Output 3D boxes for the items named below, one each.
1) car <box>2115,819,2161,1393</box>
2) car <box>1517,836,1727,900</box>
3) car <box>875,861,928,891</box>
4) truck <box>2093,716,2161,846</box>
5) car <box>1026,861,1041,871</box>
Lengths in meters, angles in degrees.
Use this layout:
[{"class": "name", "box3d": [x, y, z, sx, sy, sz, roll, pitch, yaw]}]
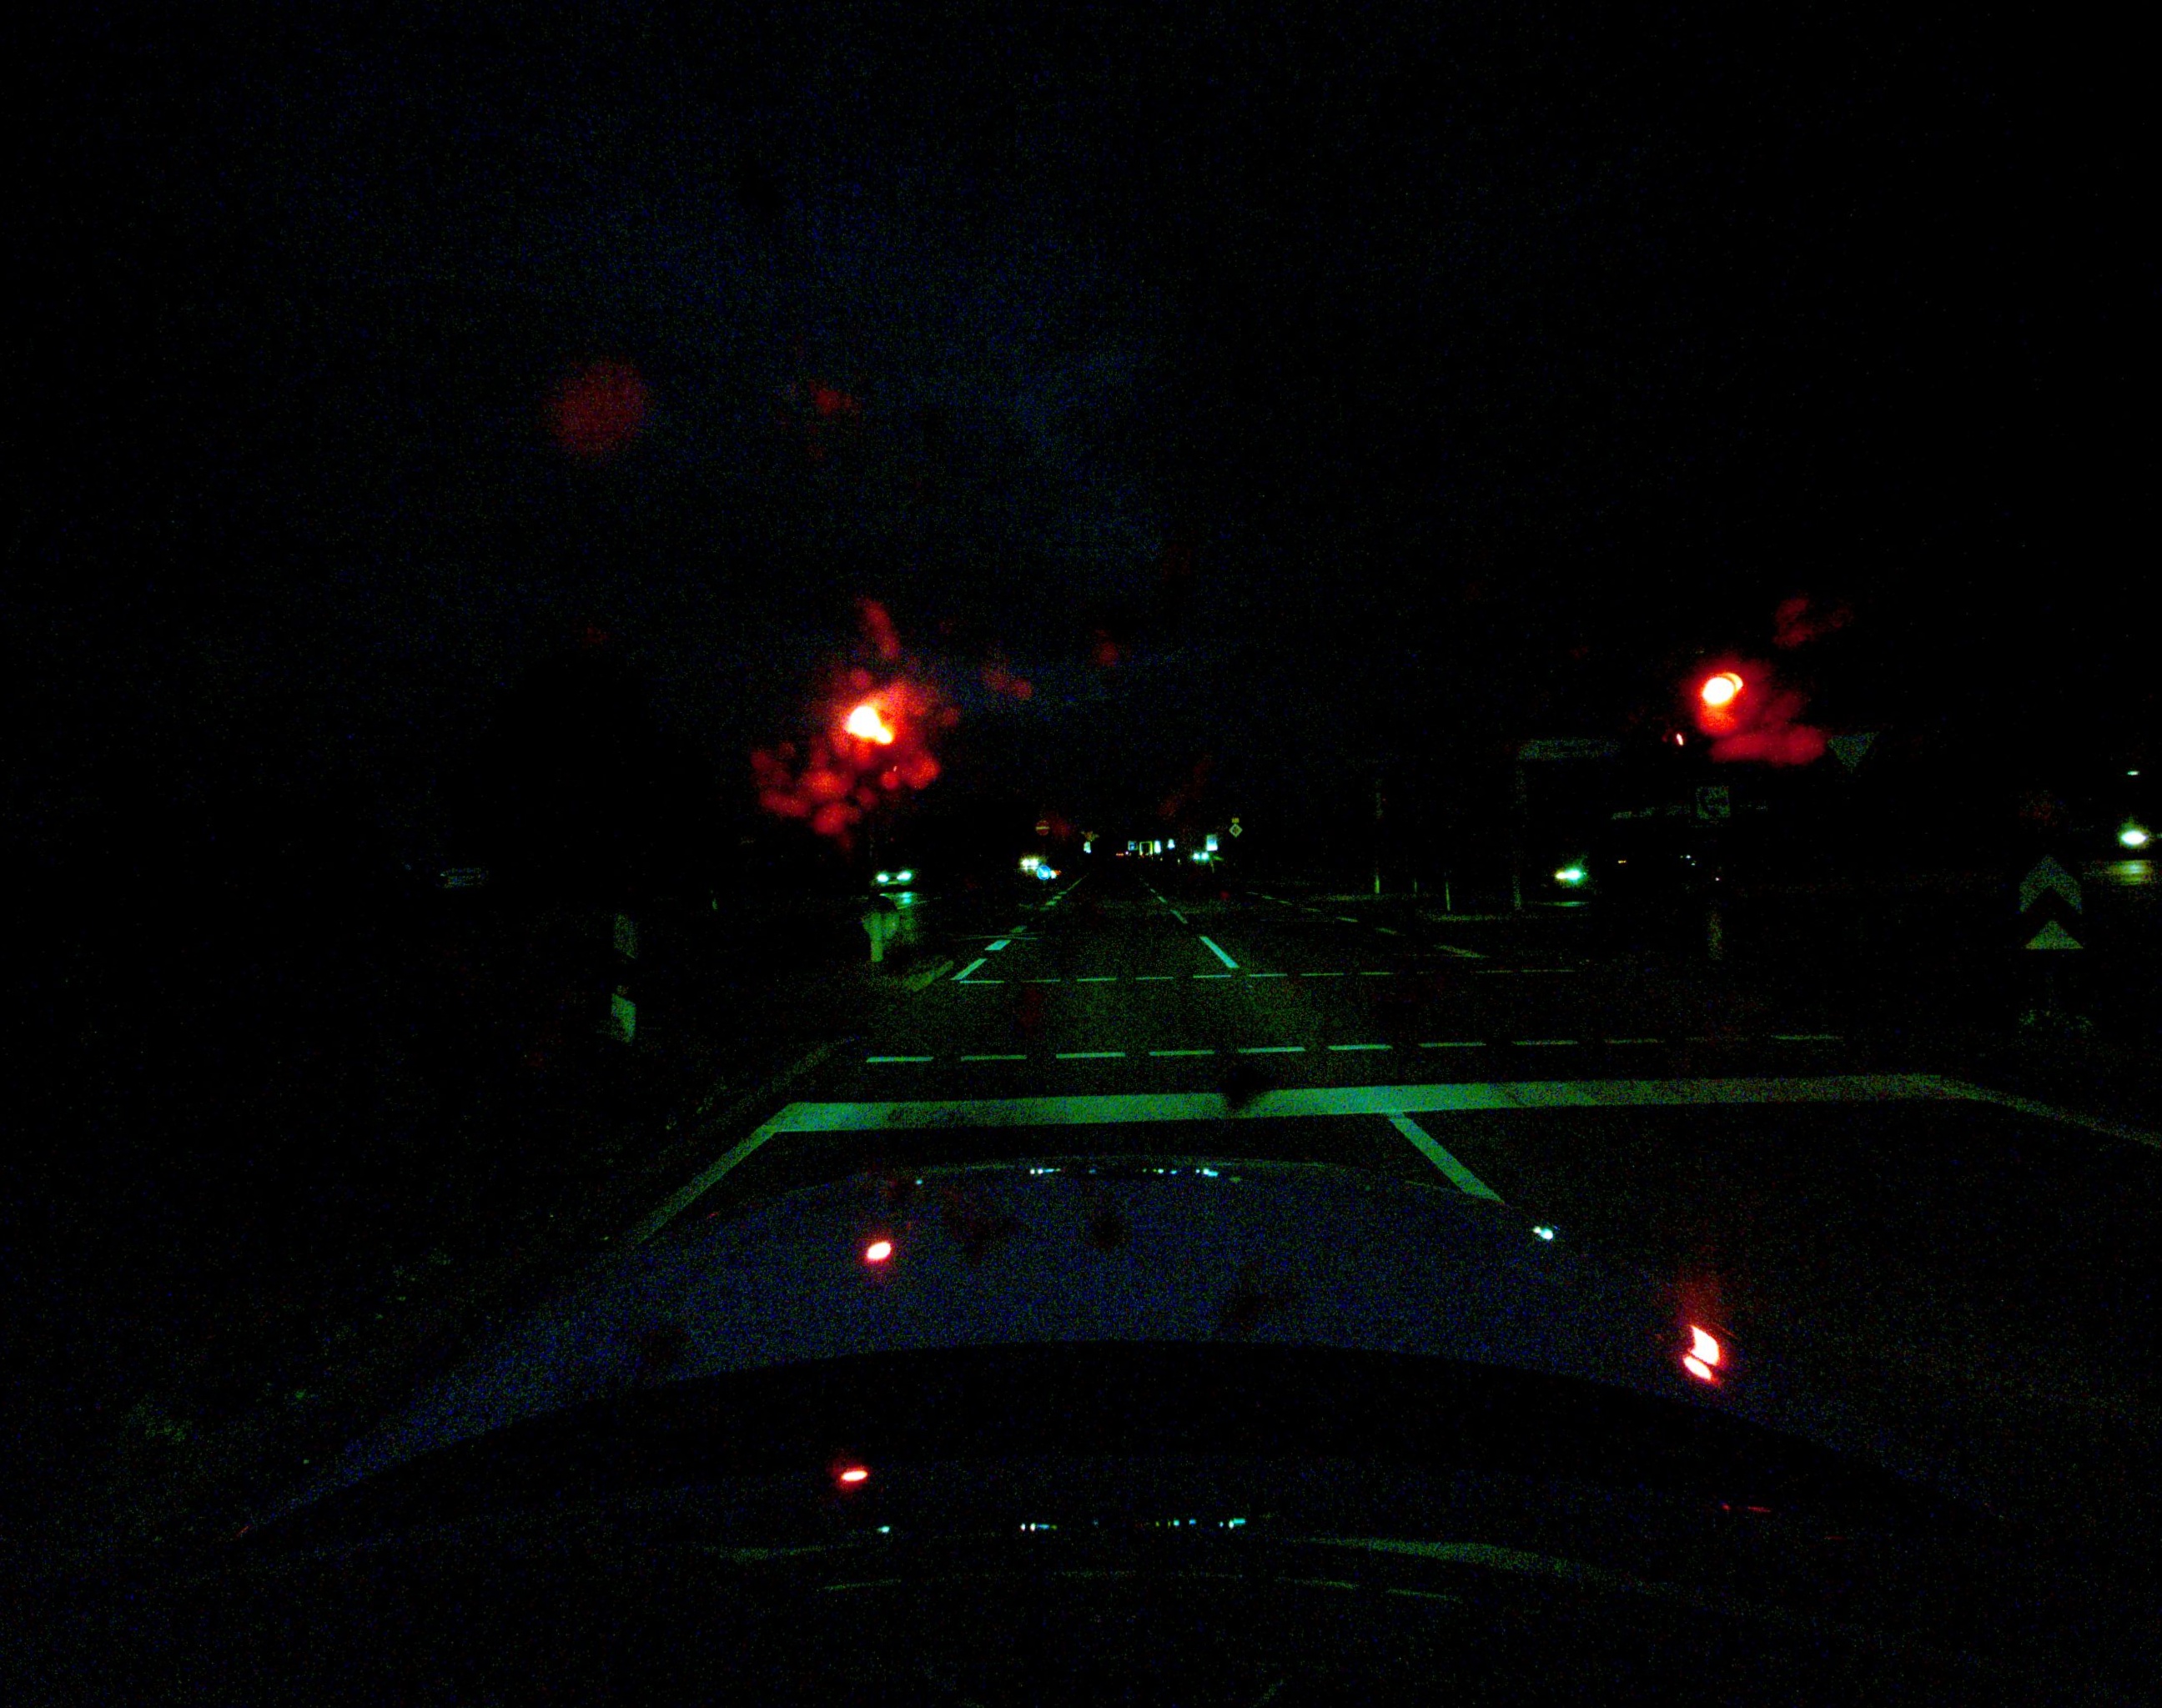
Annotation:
[{"class": "car", "box3d": [3.566, 0.654, 0.149, 1.663, 1.520, 4.109, -1, 0, 3]}, {"class": "car", "box3d": [15.263, 0.378, 23.193, 4.583, 1.520, 2.001, -3, 0, 2]}, {"class": "car", "box3d": [-10.371, 1.226, 47.334, 1.986, 1.519, 4.299, -2, 0, 2]}, {"class": "truck", "box3d": [38.287, -2.508, 25.852, 10.033, 3.979, 2.917, -3, 0, -8]}, {"class": "car", "box3d": [-7.361, 1.800, 126.832, 1.986, 1.387, 4.002, -2, 0, 2]}]
